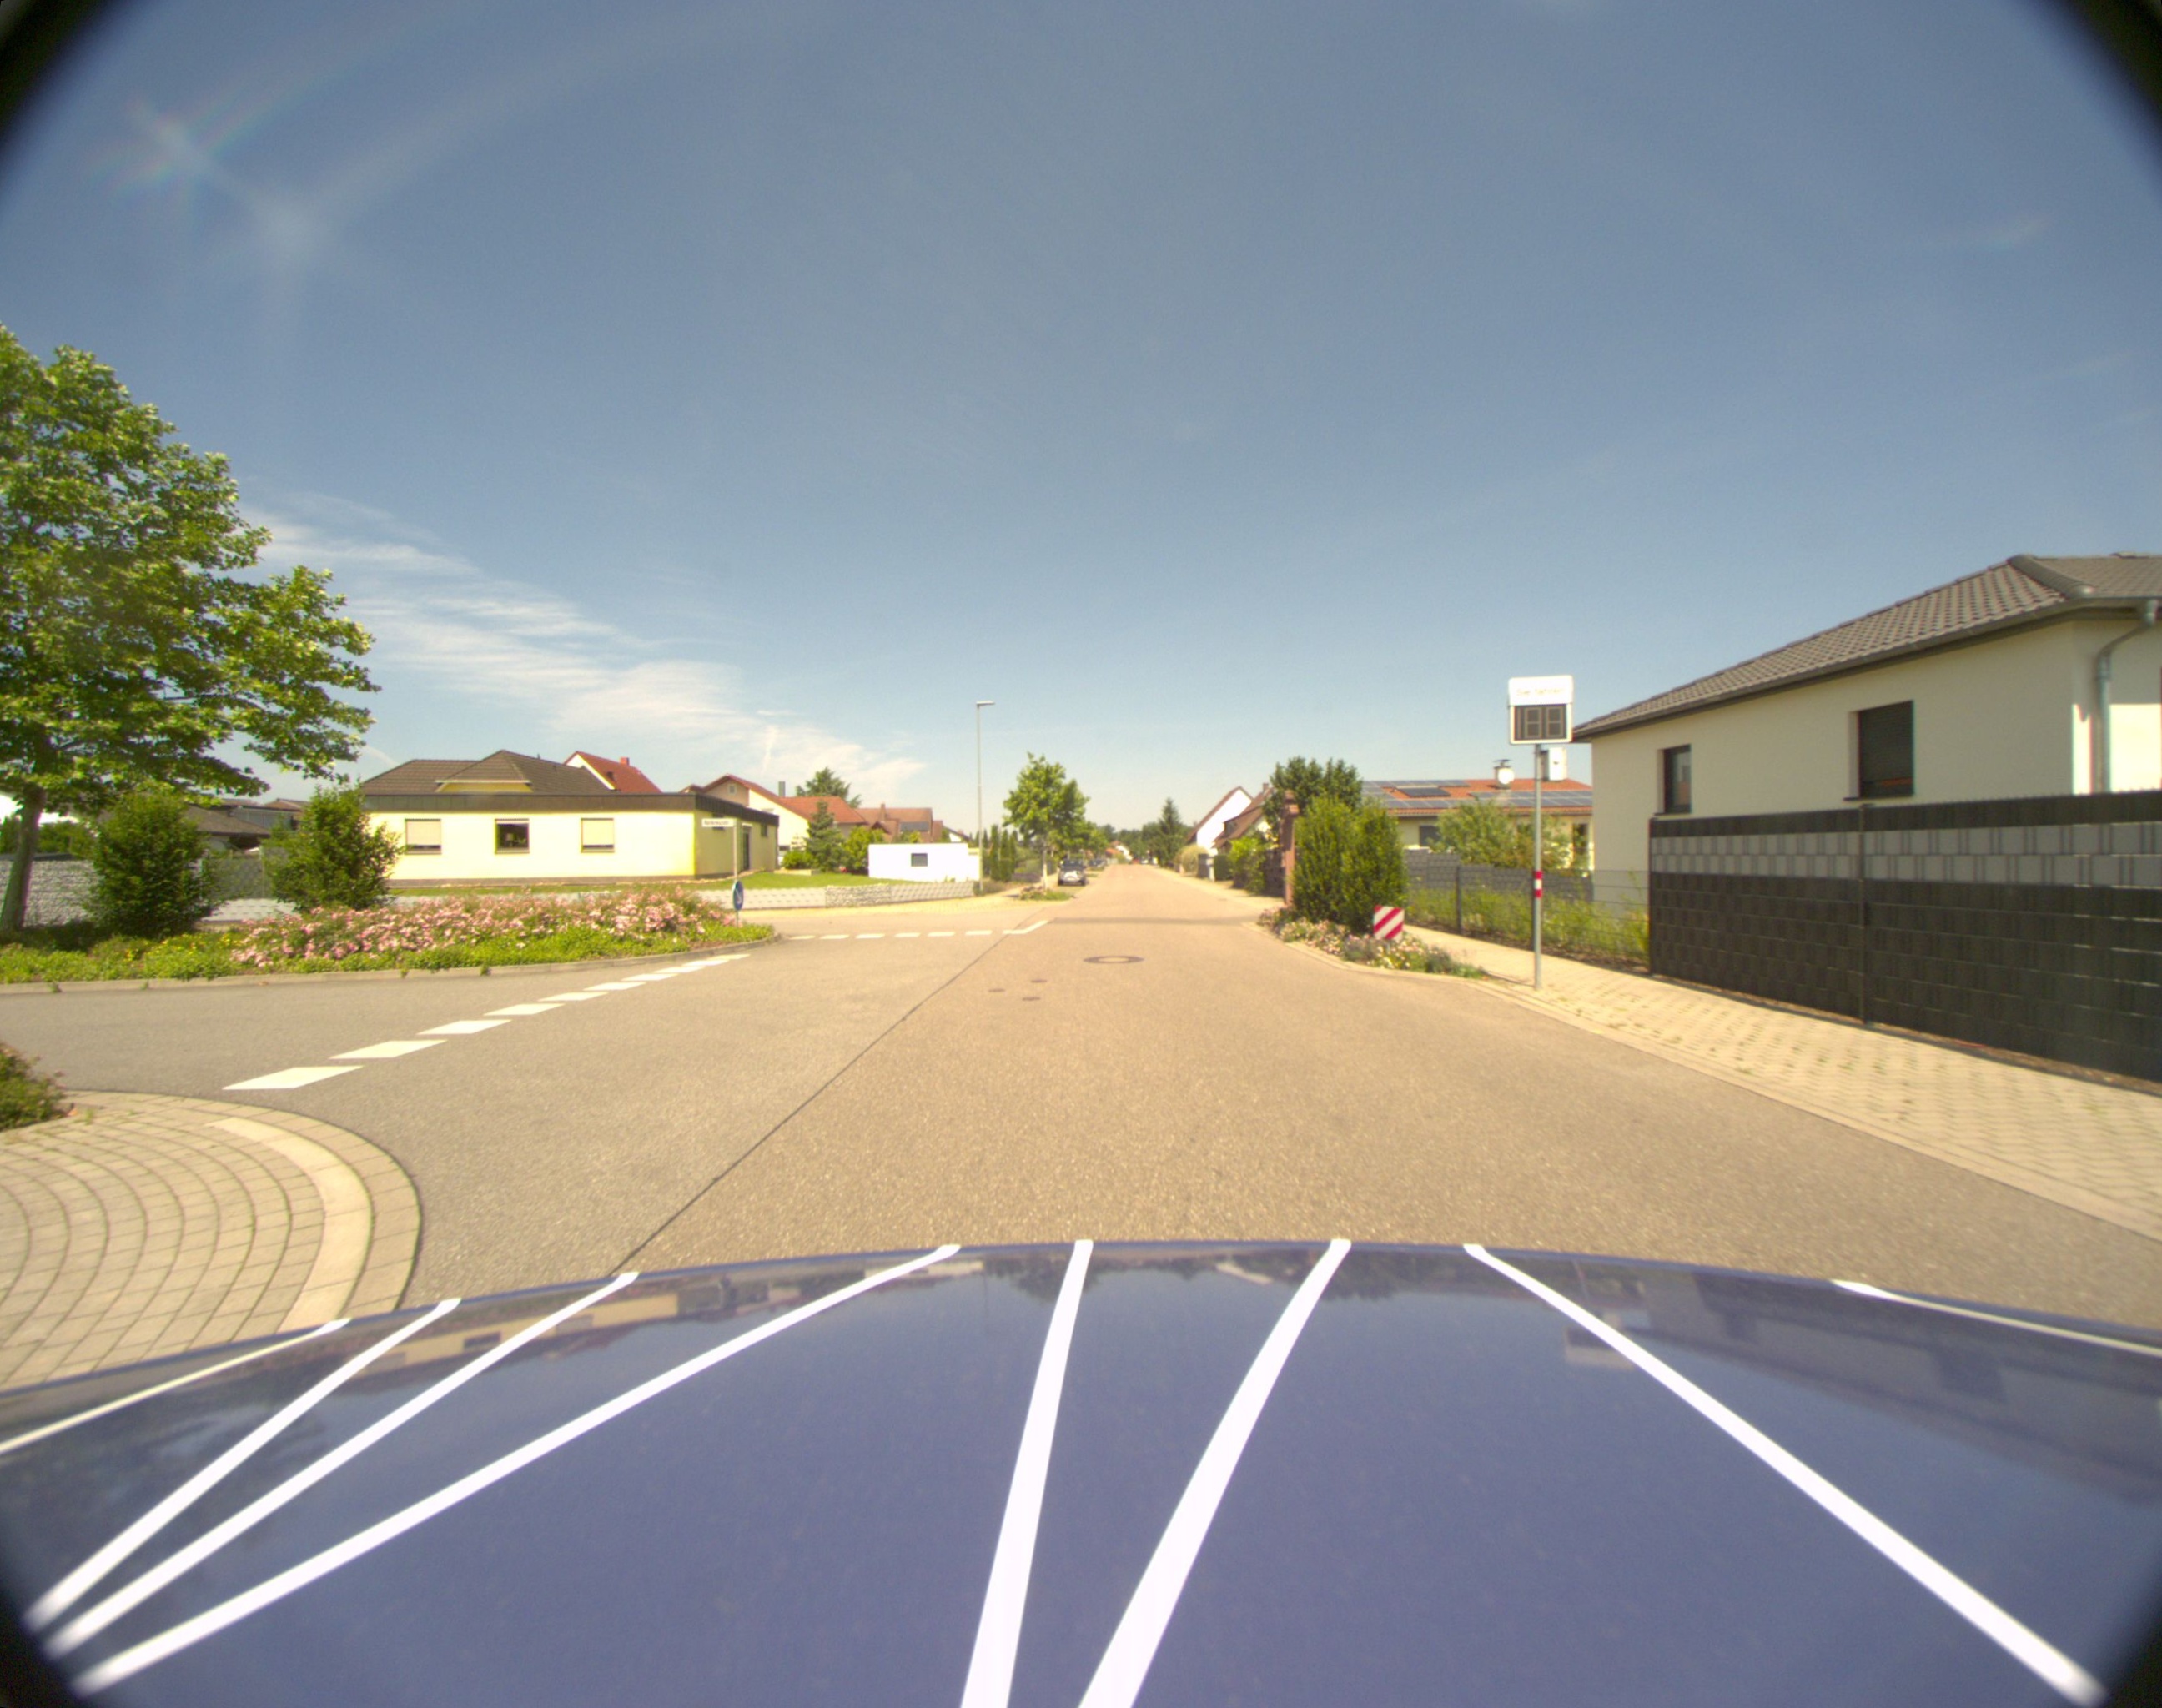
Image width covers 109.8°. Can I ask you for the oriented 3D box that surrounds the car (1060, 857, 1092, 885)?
[{"bbox_3d":[-0.259,1.030,47.009,1.597,1.630,3.804,0,0,5],"label":"car"}]
